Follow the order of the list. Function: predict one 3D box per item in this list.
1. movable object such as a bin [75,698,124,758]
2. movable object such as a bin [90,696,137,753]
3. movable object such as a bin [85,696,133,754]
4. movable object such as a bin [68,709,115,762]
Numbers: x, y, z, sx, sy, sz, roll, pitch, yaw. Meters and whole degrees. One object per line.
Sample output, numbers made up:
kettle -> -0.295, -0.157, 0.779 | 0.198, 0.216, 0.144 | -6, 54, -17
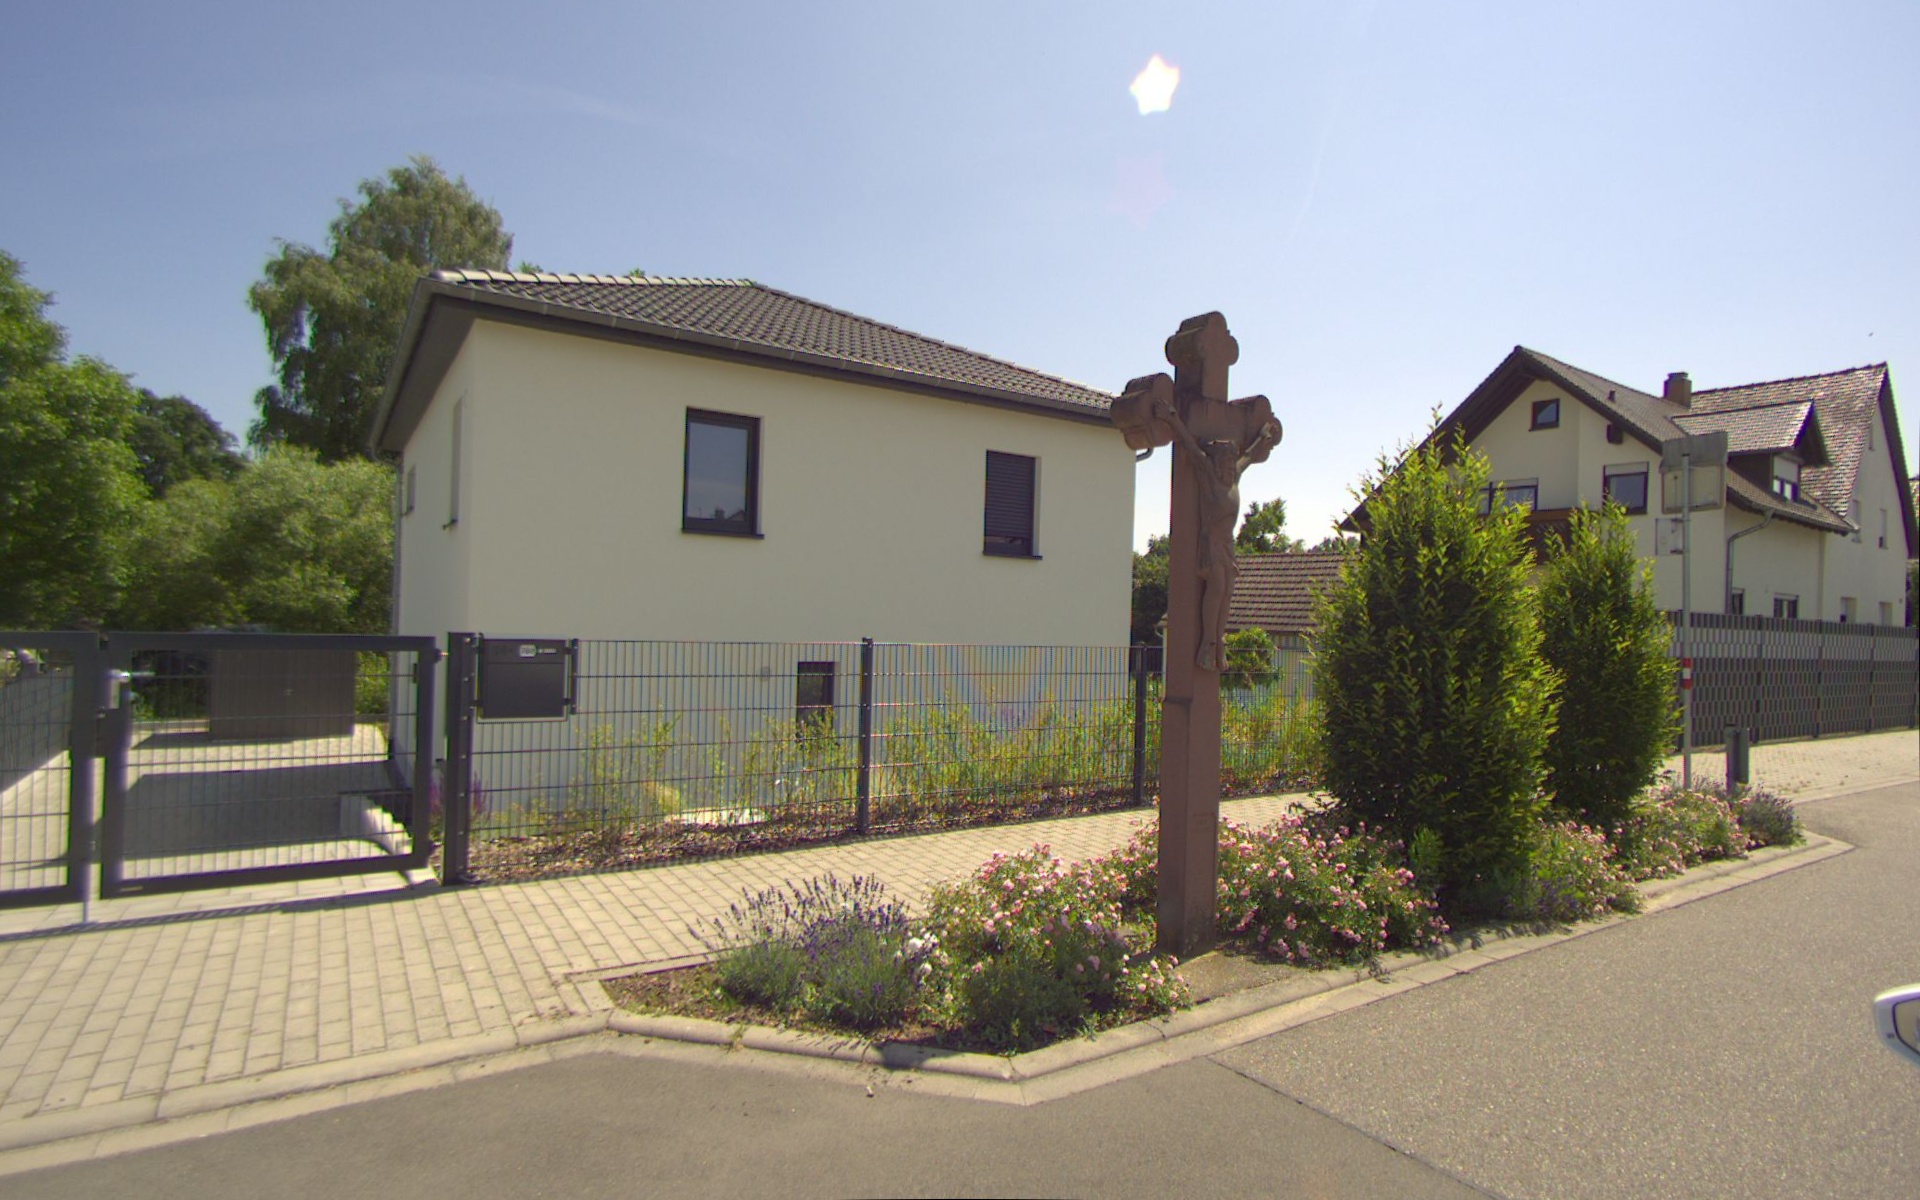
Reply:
movable object such as a bin -> -15.965, 2.362, 18.641 | 0.605, 1.049, 0.350 | 2, 0, -30
movable object such as a bin -> -16.273, 2.382, 19.314 | 0.605, 1.049, 0.308 | 2, 0, -30
movable object such as a bin -> -16.088, 2.360, 18.994 | 0.605, 1.049, 0.308 | 2, 0, -30
movable object such as a bin -> -15.743, 2.449, 18.218 | 0.556, 0.910, 0.353 | 2, -1, -30
